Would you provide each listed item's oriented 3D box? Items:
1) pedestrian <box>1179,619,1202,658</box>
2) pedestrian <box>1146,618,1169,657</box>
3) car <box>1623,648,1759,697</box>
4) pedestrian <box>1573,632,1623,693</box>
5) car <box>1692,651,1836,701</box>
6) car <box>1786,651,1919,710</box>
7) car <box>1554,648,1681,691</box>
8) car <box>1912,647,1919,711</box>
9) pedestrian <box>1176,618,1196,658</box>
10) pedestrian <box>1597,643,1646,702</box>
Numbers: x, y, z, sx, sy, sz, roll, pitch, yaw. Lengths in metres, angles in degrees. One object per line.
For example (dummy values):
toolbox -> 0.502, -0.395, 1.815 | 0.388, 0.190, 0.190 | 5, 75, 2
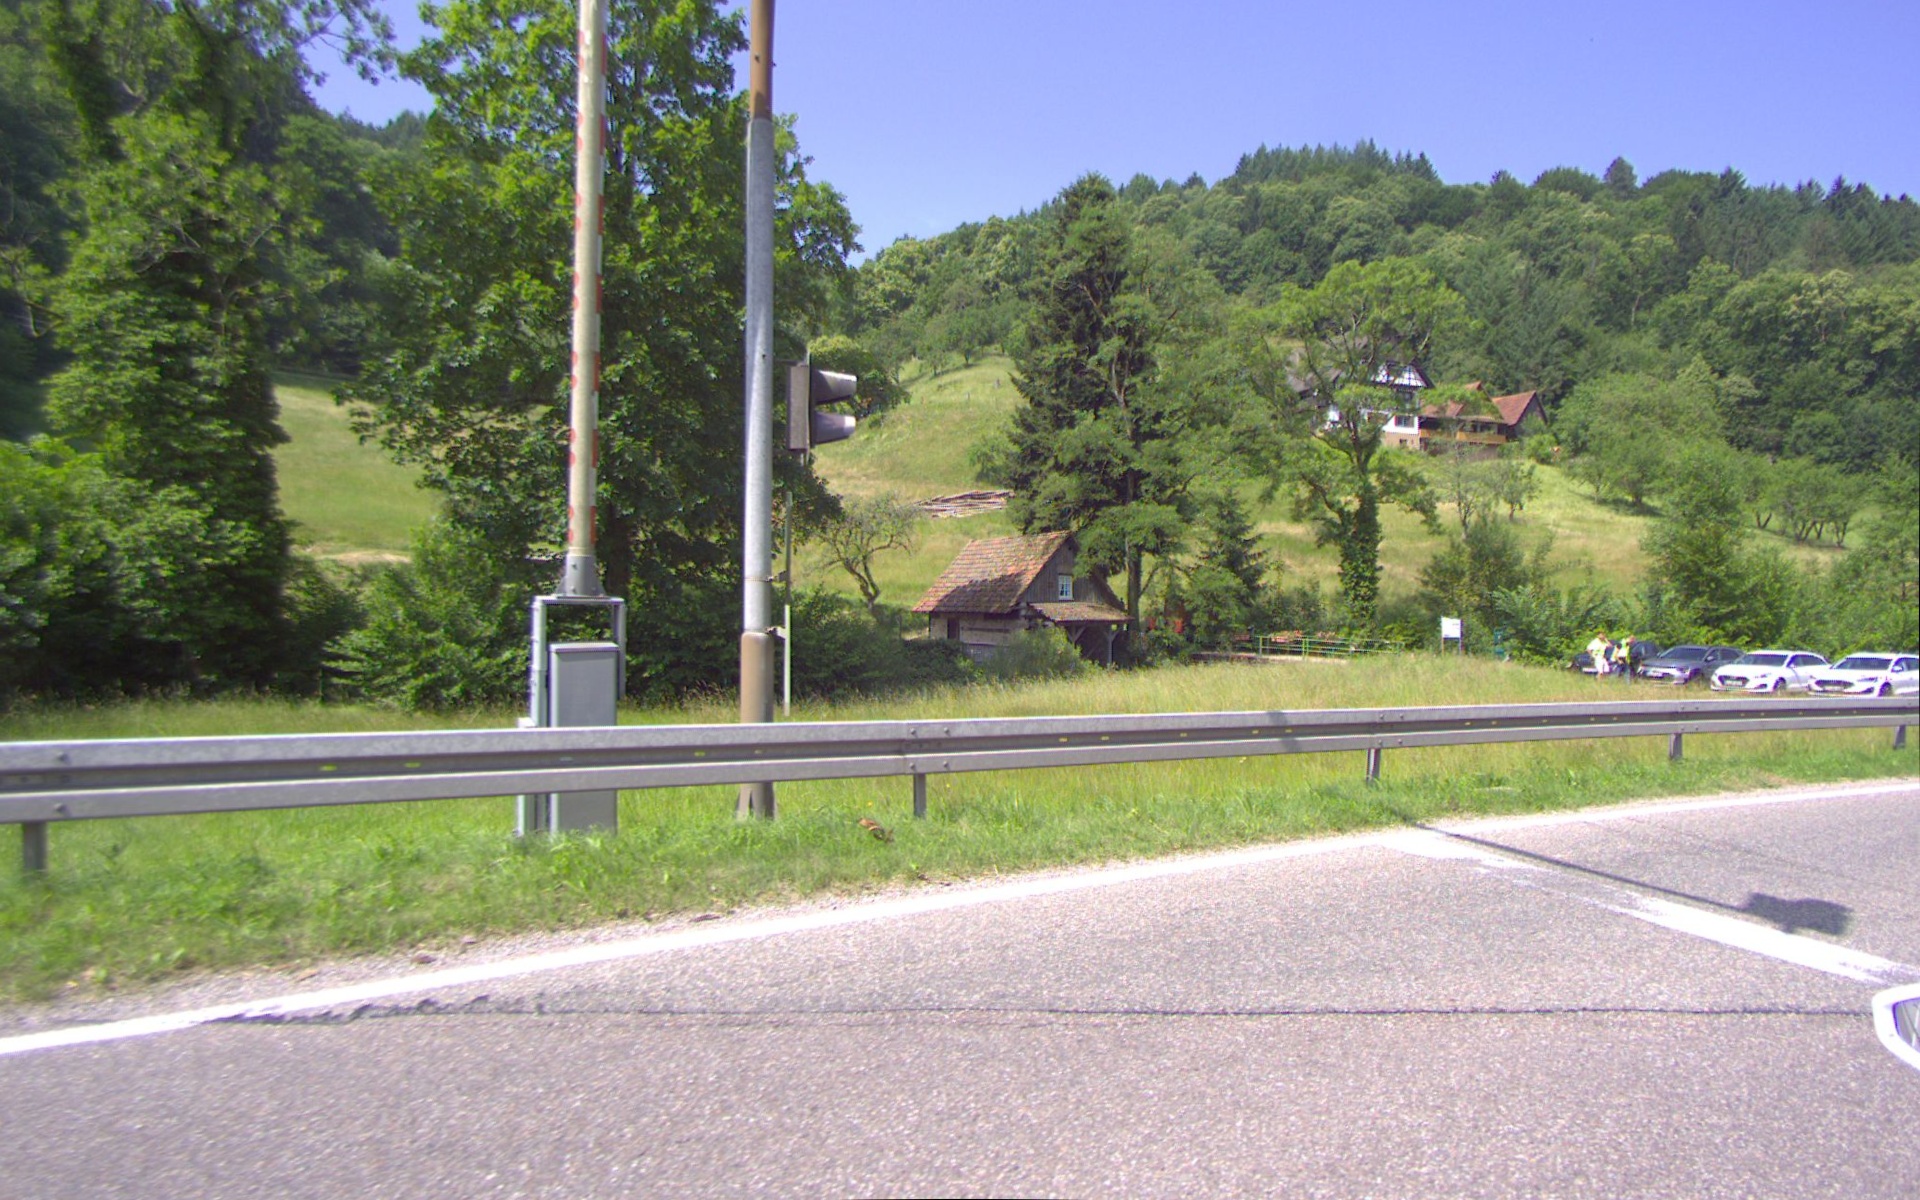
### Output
pedestrian -> 12.312, 2.049, 53.707 | 0.920, 2.040, 0.696 | 2, -2, -27
pedestrian -> 10.342, 1.960, 52.498 | 0.919, 2.040, 0.697 | 2, -2, -22
car -> 25.790, 2.561, 35.427 | 4.461, 1.520, 1.987 | 2, 0, -25
pedestrian -> 21.114, 2.058, 33.274 | 0.846, 1.995, 1.128 | 1, -2, -9
car -> 26.465, 2.491, 33.064 | 4.461, 1.520, 1.988 | 2, -3, -25
car -> 27.904, 2.449, 30.786 | 4.832, 1.663, 1.989 | 2, -3, -23
car -> 24.715, 2.619, 37.760 | 4.461, 1.520, 1.988 | 2, -3, -25
car -> 29.499, 2.300, 28.405 | 4.699, 1.806, 1.869 | 2, -1, -20
pedestrian -> 11.868, 1.992, 52.652 | 0.914, 2.040, 0.701 | 1, -2, 20
pedestrian -> 20.788, 2.271, 31.575 | 0.988, 1.818, 0.950 | 2, -3, -28
